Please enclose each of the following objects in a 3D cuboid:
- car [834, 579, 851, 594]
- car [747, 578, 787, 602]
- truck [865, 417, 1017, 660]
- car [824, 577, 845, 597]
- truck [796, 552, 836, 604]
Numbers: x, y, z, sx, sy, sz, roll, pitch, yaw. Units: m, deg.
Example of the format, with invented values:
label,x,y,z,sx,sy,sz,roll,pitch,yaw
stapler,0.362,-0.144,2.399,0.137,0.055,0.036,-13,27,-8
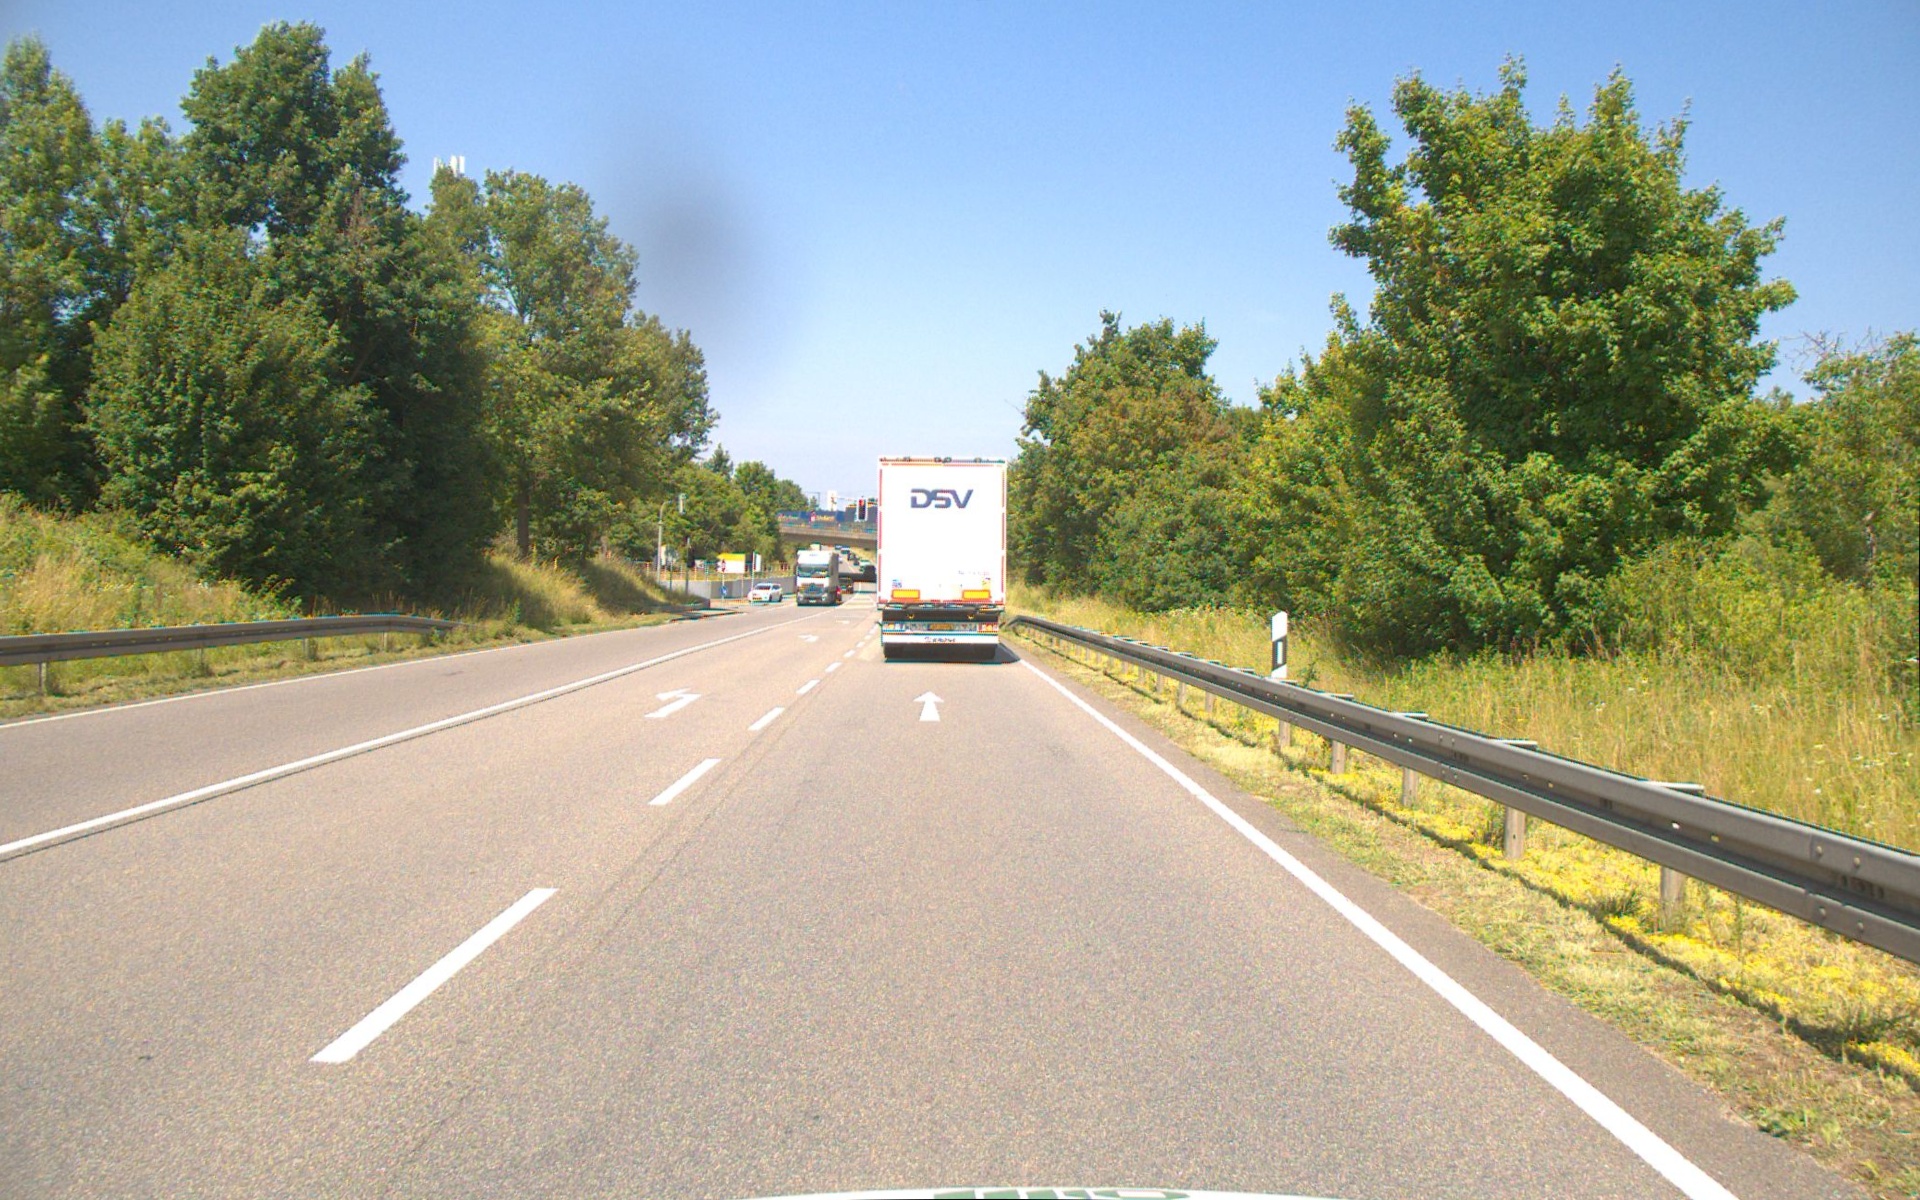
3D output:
label,x,y,z,sx,sy,sz,roll,pitch,yaw
car,-12.829,-1.483,181.254,1.712,1.654,3.702,0,1,-2
car,-15.647,-0.861,134.212,1.763,1.904,4.423,1,1,15
truck,-0.400,-1.213,36.755,2.889,4.648,9.861,1,0,0
car,-10.992,-1.145,144.951,1.712,1.654,3.702,0,1,-2
truck,-10.976,-1.726,127.260,2.306,3.815,12.622,0,1,-2
